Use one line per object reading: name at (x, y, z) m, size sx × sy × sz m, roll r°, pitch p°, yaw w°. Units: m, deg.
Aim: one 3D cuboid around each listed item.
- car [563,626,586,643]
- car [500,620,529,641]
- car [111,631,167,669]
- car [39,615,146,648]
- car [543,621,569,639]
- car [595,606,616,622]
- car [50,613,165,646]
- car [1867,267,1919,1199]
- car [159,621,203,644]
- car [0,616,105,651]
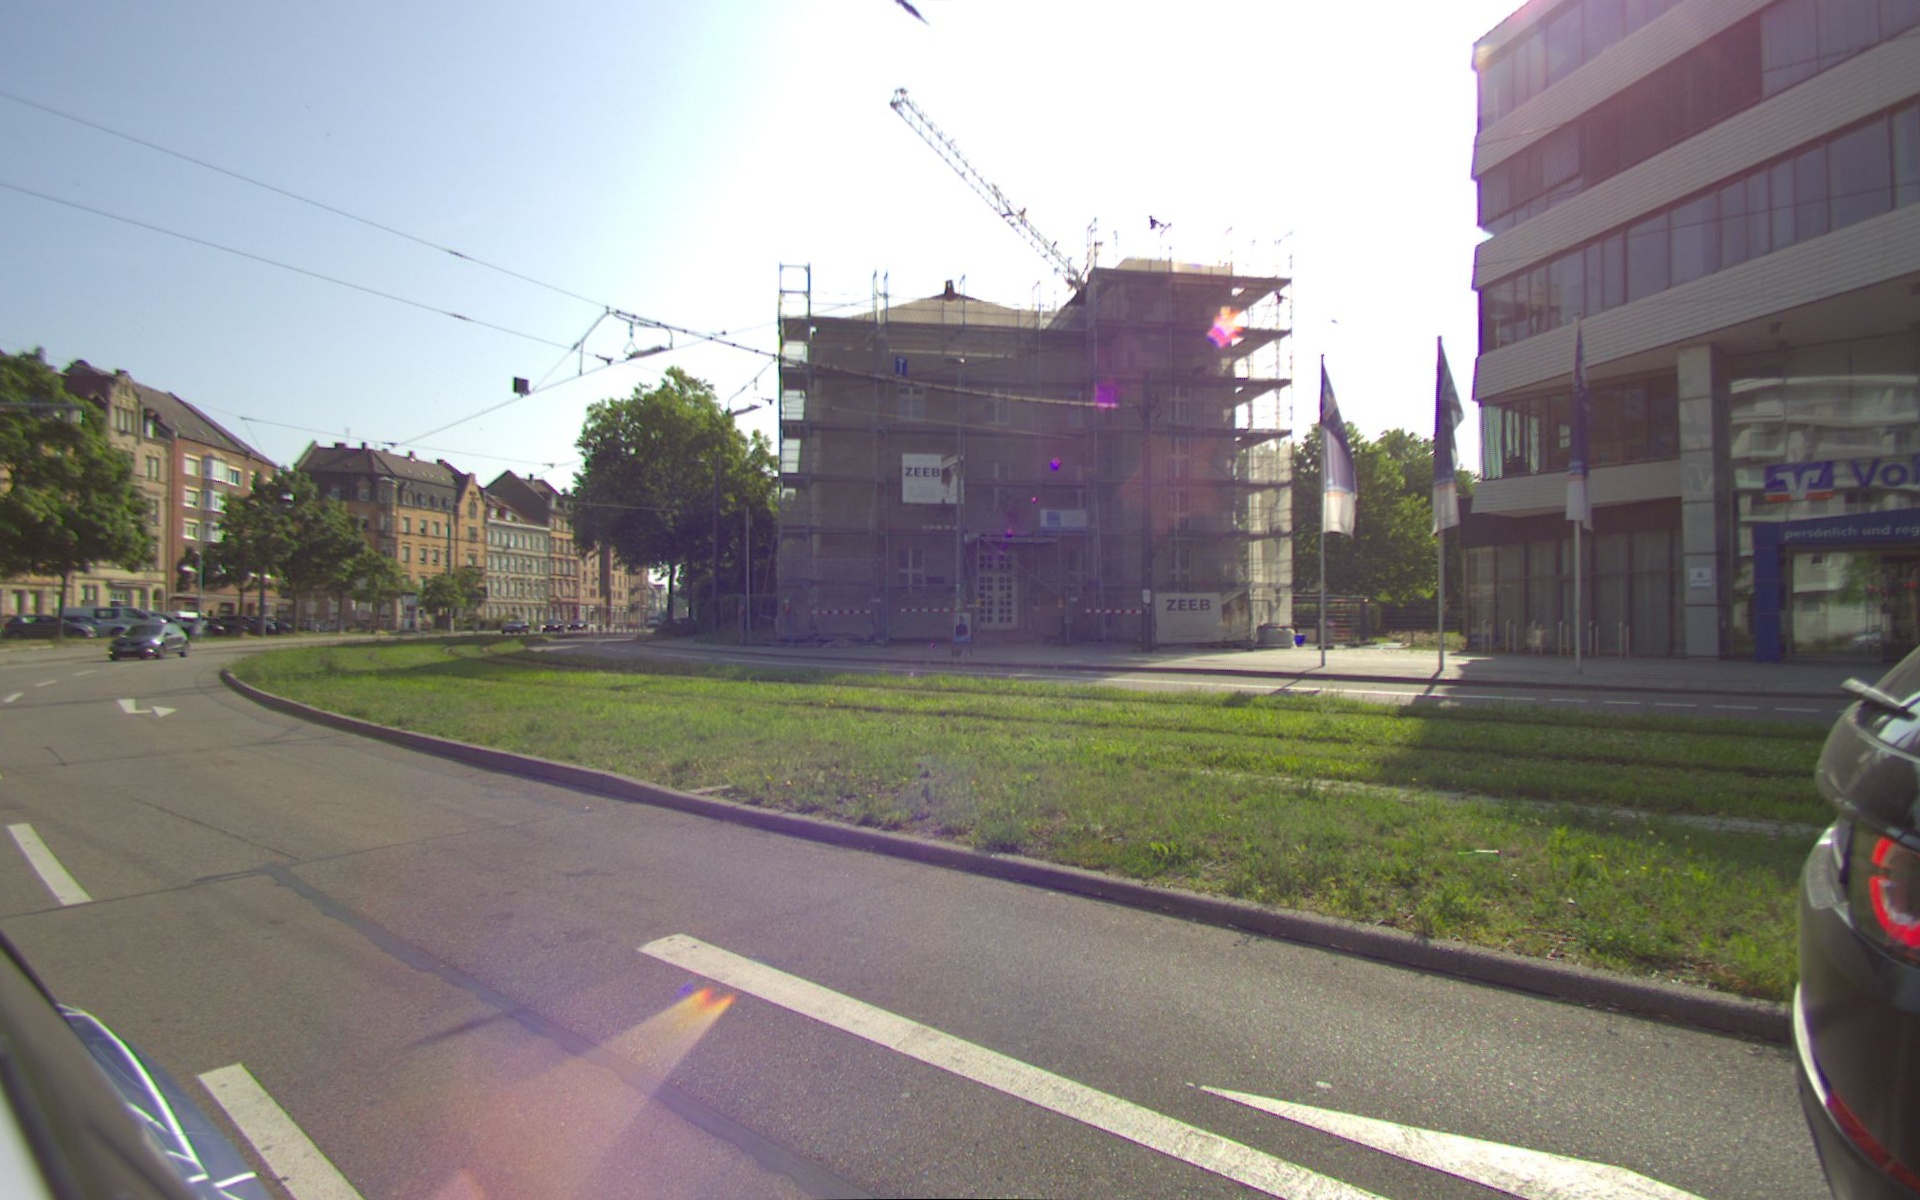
car at (-46.946, 4.142, 123.348) m, size 1.967 × 2.029 × 4.009 m, roll 0°, pitch -1°, yaw -11°
car at (-44.587, 3.036, 101.353) m, size 1.967 × 2.029 × 4.010 m, roll -1°, pitch 0°, yaw -13°
car at (-32.731, 1.955, 40.418) m, size 1.618 × 1.430 × 3.903 m, roll 1°, pitch -1°, yaw -38°
car at (-48.431, 1.791, 56.556) m, size 1.722 × 1.779 × 4.356 m, roll -1°, pitch -3°, yaw 44°
car at (-41.586, 3.067, 104.266) m, size 1.966 × 1.874 × 4.011 m, roll 0°, pitch -2°, yaw -14°
car at (-44.625, 1.780, 127.436) m, size 1.967 × 1.993 × 4.010 m, roll -1°, pitch 0°, yaw -13°
car at (-49.677, 1.750, 59.068) m, size 1.720 × 1.852 × 4.861 m, roll -1°, pitch -3°, yaw 40°
car at (3.300, 0.425, 0.478) m, size 4.220 × 1.690 × 1.778 m, roll -1°, pitch -3°, yaw 42°
car at (-60.747, 2.500, 78.917) m, size 1.311 × 1.745 × 2.785 m, roll 0°, pitch -2°, yaw -1°
car at (-48.135, 1.789, 53.244) m, size 4.663 × 1.779 × 1.725 m, roll 3°, pitch -3°, yaw -38°
